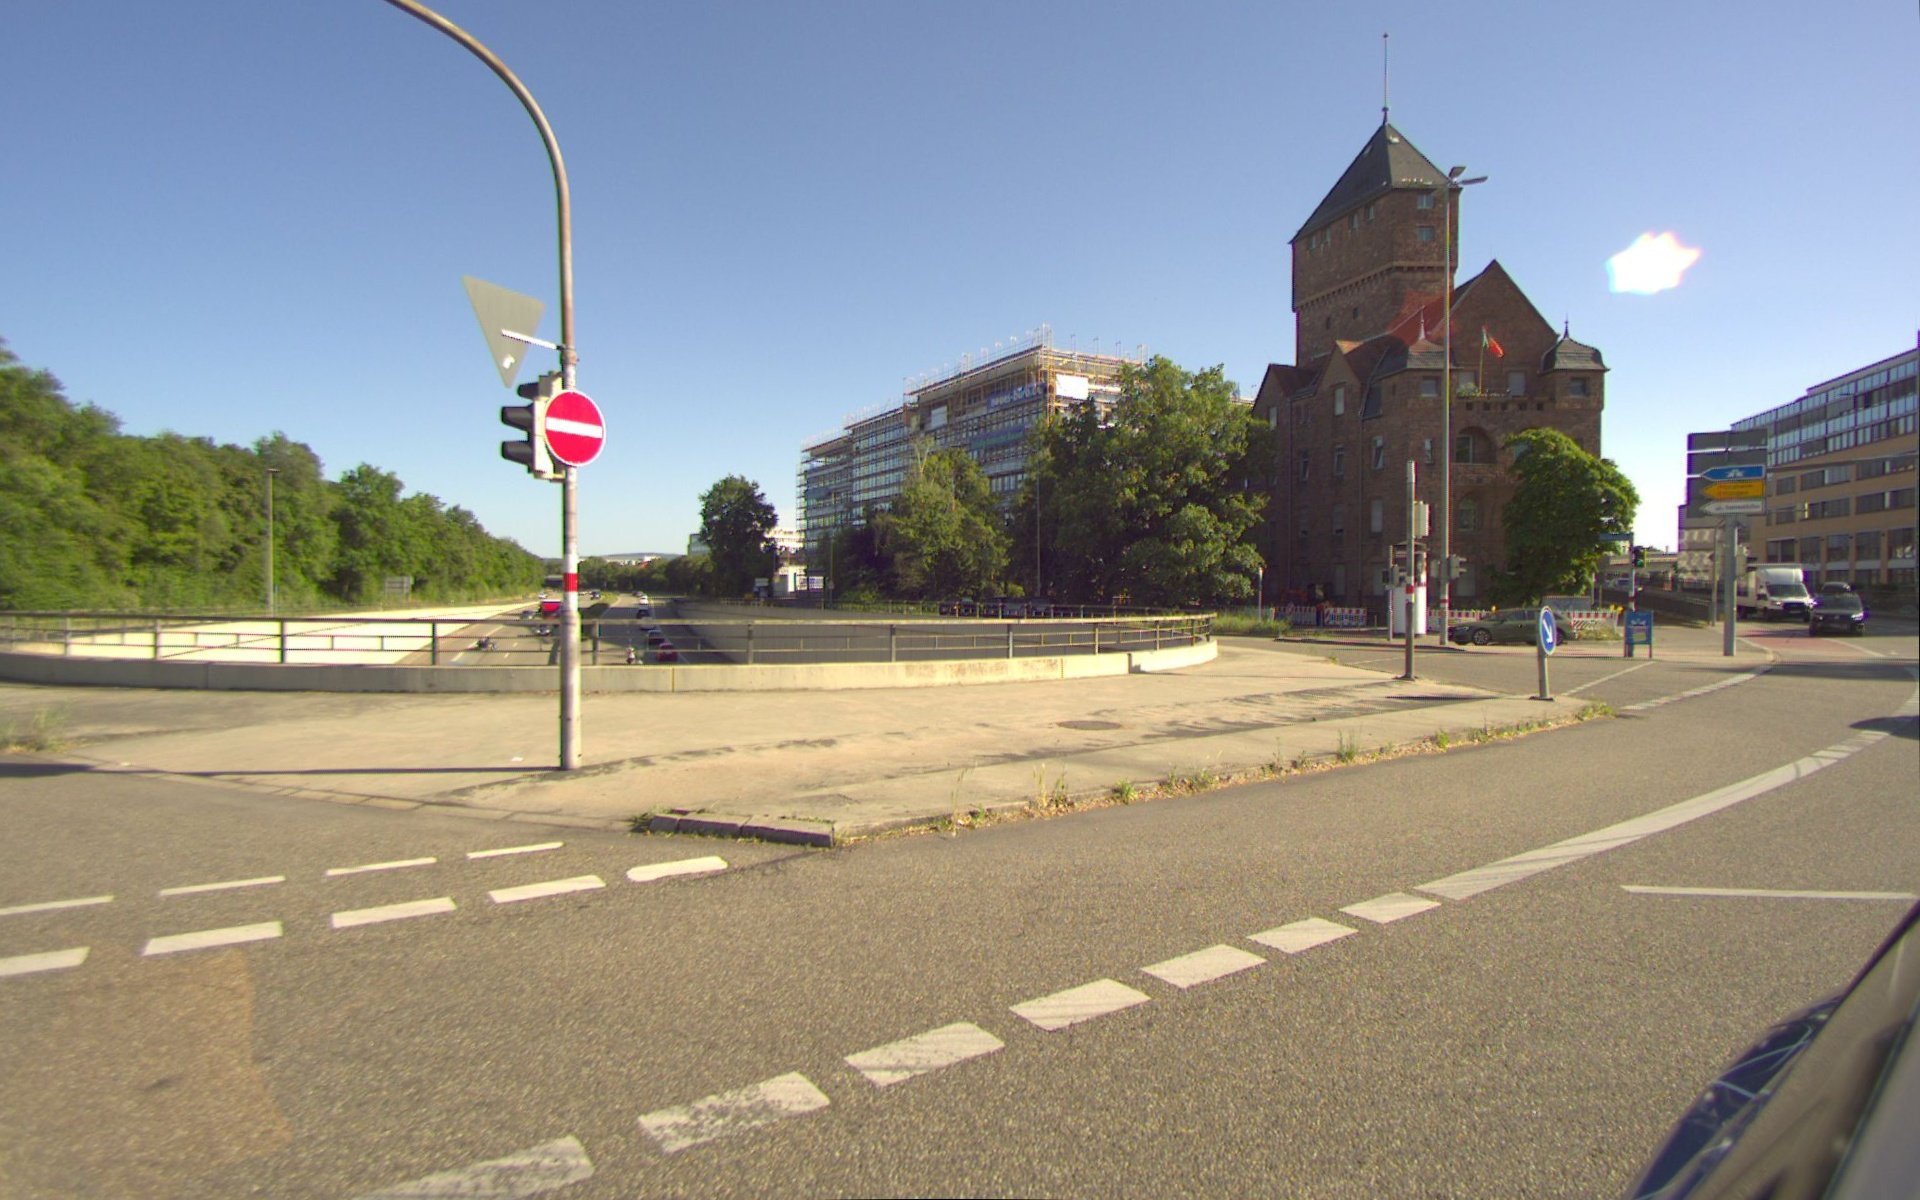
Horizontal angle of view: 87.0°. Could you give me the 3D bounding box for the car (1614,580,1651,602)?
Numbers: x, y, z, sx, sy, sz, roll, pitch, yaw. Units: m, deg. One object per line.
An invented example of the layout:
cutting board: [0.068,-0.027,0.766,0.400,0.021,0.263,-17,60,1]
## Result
car: [57.005,-0.783,85.820,1.738,1.781,4.748,0,1,23]

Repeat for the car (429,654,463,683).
car: [-34.032,4.511,67.107,1.959,1.594,4.005,0,-1,-26]

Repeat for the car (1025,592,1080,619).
car: [5.589,0.314,60.841,1.982,1.581,3.744,1,1,28]

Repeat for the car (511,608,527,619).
car: [-61.080,1.902,140.148,1.959,1.415,4.007,-2,1,-23]

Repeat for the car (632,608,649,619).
car: [-46.482,1.954,147.005,1.959,1.415,4.007,-2,1,-23]

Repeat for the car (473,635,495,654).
car: [-44.677,4.159,94.991,1.823,1.583,4.006,0,-1,-25]

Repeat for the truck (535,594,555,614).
truck: [-53.243,0.508,129.708,2.239,2.416,5.394,-2,1,-22]

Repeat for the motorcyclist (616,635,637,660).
motorcyclist: [-27.449,3.890,83.348,1.503,2.039,1.215,1,-1,-25]

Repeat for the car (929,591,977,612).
car: [-0.466,0.112,74.384,1.982,1.472,3.744,1,1,28]

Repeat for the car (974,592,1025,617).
car: [2.623,0.299,67.104,1.982,1.581,3.744,1,1,28]

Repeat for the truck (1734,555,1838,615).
truck: [45.957,-0.830,56.527,2.474,3.167,6.910,0,1,21]

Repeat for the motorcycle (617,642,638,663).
motorcycle: [-27.395,4.288,83.263,1.260,1.533,3.577,0,-1,-25]

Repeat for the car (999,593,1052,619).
car: [4.135,0.348,63.530,1.982,1.581,3.744,1,1,28]

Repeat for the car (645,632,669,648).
car: [-31.126,4.088,103.945,1.959,1.415,4.007,-2,1,-23]

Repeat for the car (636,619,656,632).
car: [-38.424,3.070,123.805,1.959,1.415,4.007,-2,1,-23]

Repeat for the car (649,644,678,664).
car: [-25.989,4.685,88.659,1.959,1.415,4.007,-2,1,-23]

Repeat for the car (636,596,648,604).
car: [-64.816,-0.048,206.172,1.959,1.415,4.007,-2,1,-23]

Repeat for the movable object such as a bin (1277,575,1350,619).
movable object such as a bin: [20.250,-0.189,58.122,1.958,2.440,4.008,0,0,-17]

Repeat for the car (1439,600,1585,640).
car: [21.324,0.778,39.256,4.552,1.489,1.878,0,-1,4]

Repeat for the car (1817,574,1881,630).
car: [38.474,0.052,43.884,1.942,2.290,4.717,0,1,40]

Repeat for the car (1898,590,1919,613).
car: [64.814,0.092,67.353,1.855,1.542,4.139,0,1,17]
